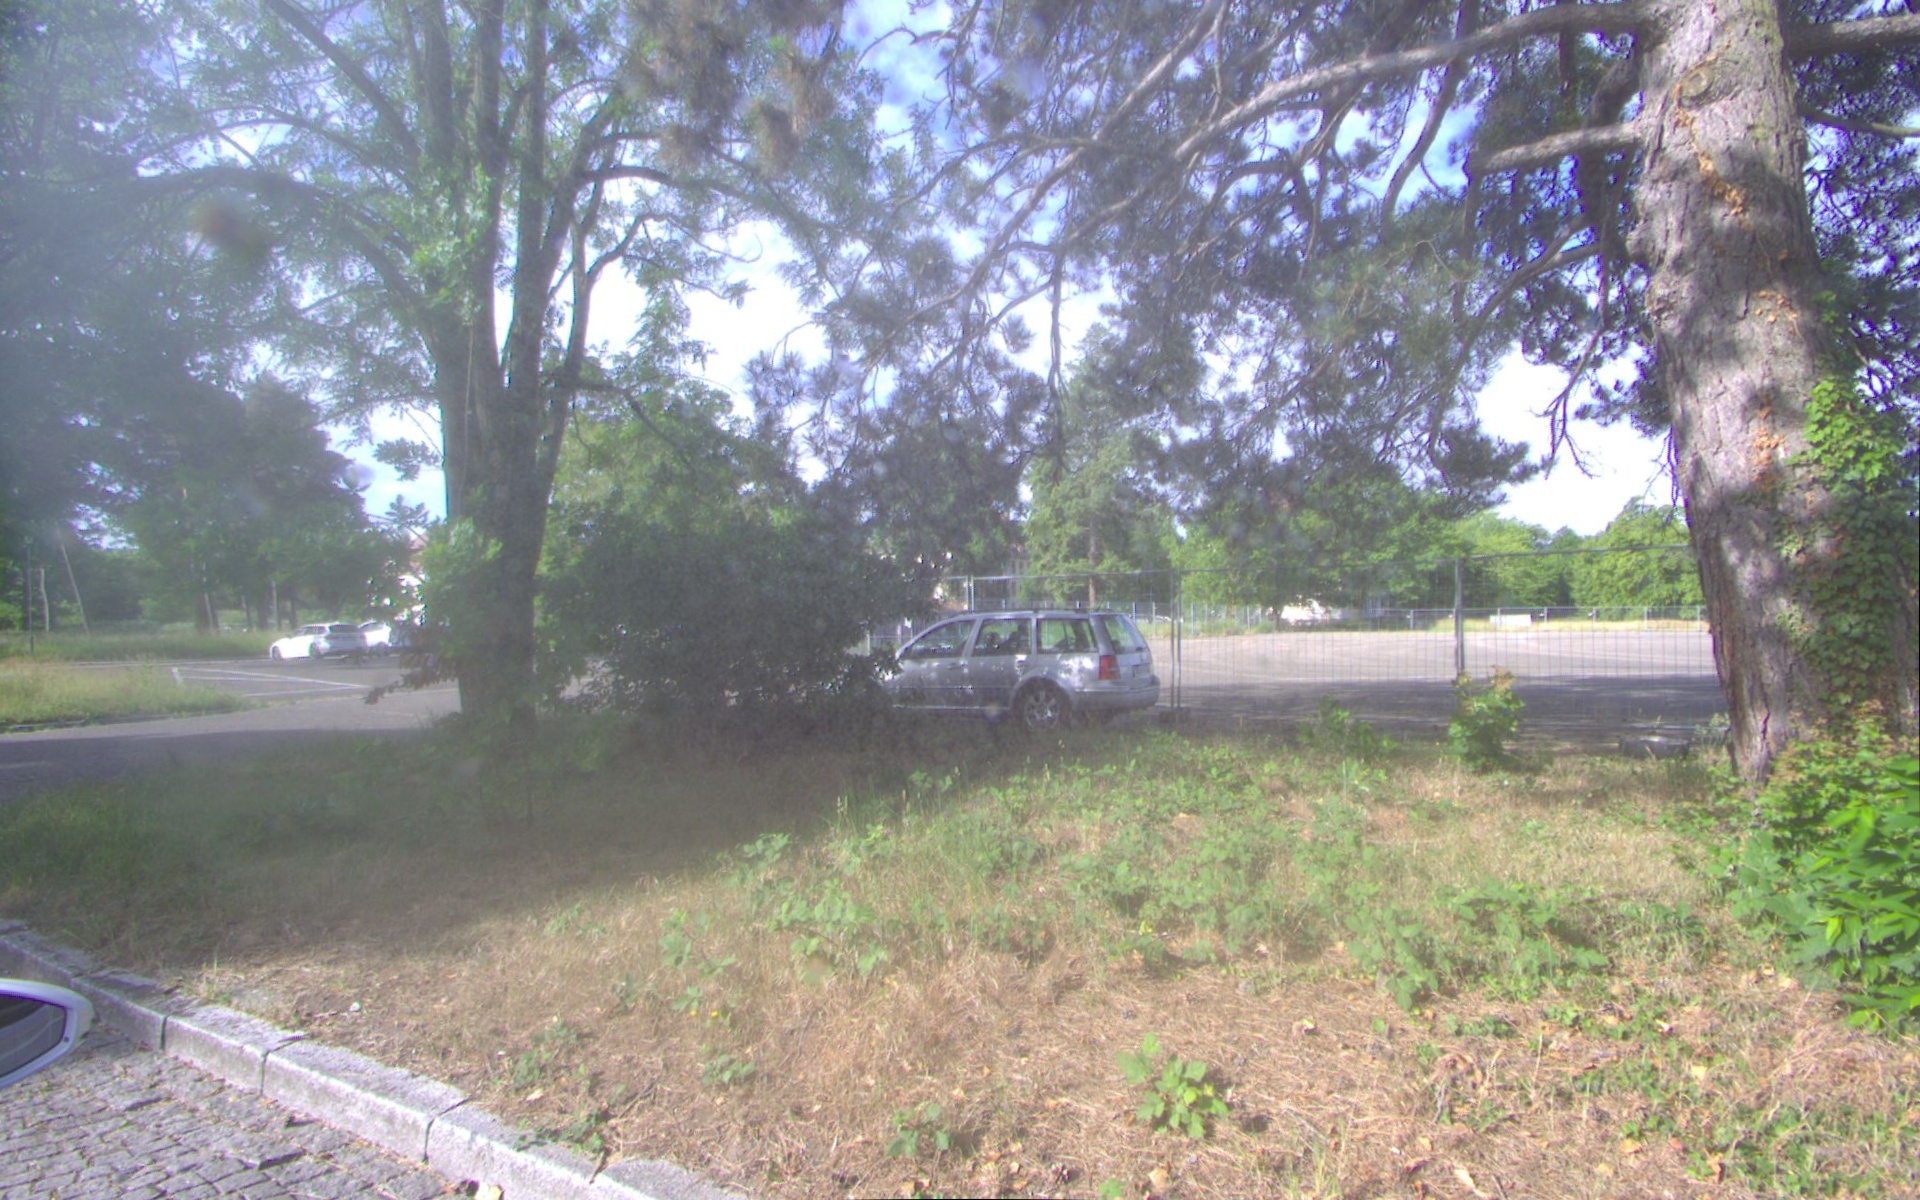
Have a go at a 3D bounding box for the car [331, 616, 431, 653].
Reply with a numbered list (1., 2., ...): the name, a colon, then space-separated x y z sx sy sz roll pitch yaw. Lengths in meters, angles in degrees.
1. car: -24.762 1.469 42.778 4.265 1.496 1.729 -1 -1 28

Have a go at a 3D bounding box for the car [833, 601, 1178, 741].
1. car: 0.529 0.794 12.352 3.938 1.487 1.666 -1 0 28

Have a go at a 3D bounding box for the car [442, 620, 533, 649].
1. car: -22.483 1.629 47.662 4.265 1.329 1.729 -1 0 28

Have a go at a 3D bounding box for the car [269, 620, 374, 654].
1. car: -25.807 1.468 40.462 4.265 1.329 1.729 -1 -1 28

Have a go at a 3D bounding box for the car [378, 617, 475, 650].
1. car: -23.923 1.474 44.895 4.265 1.330 1.728 0 2 28
